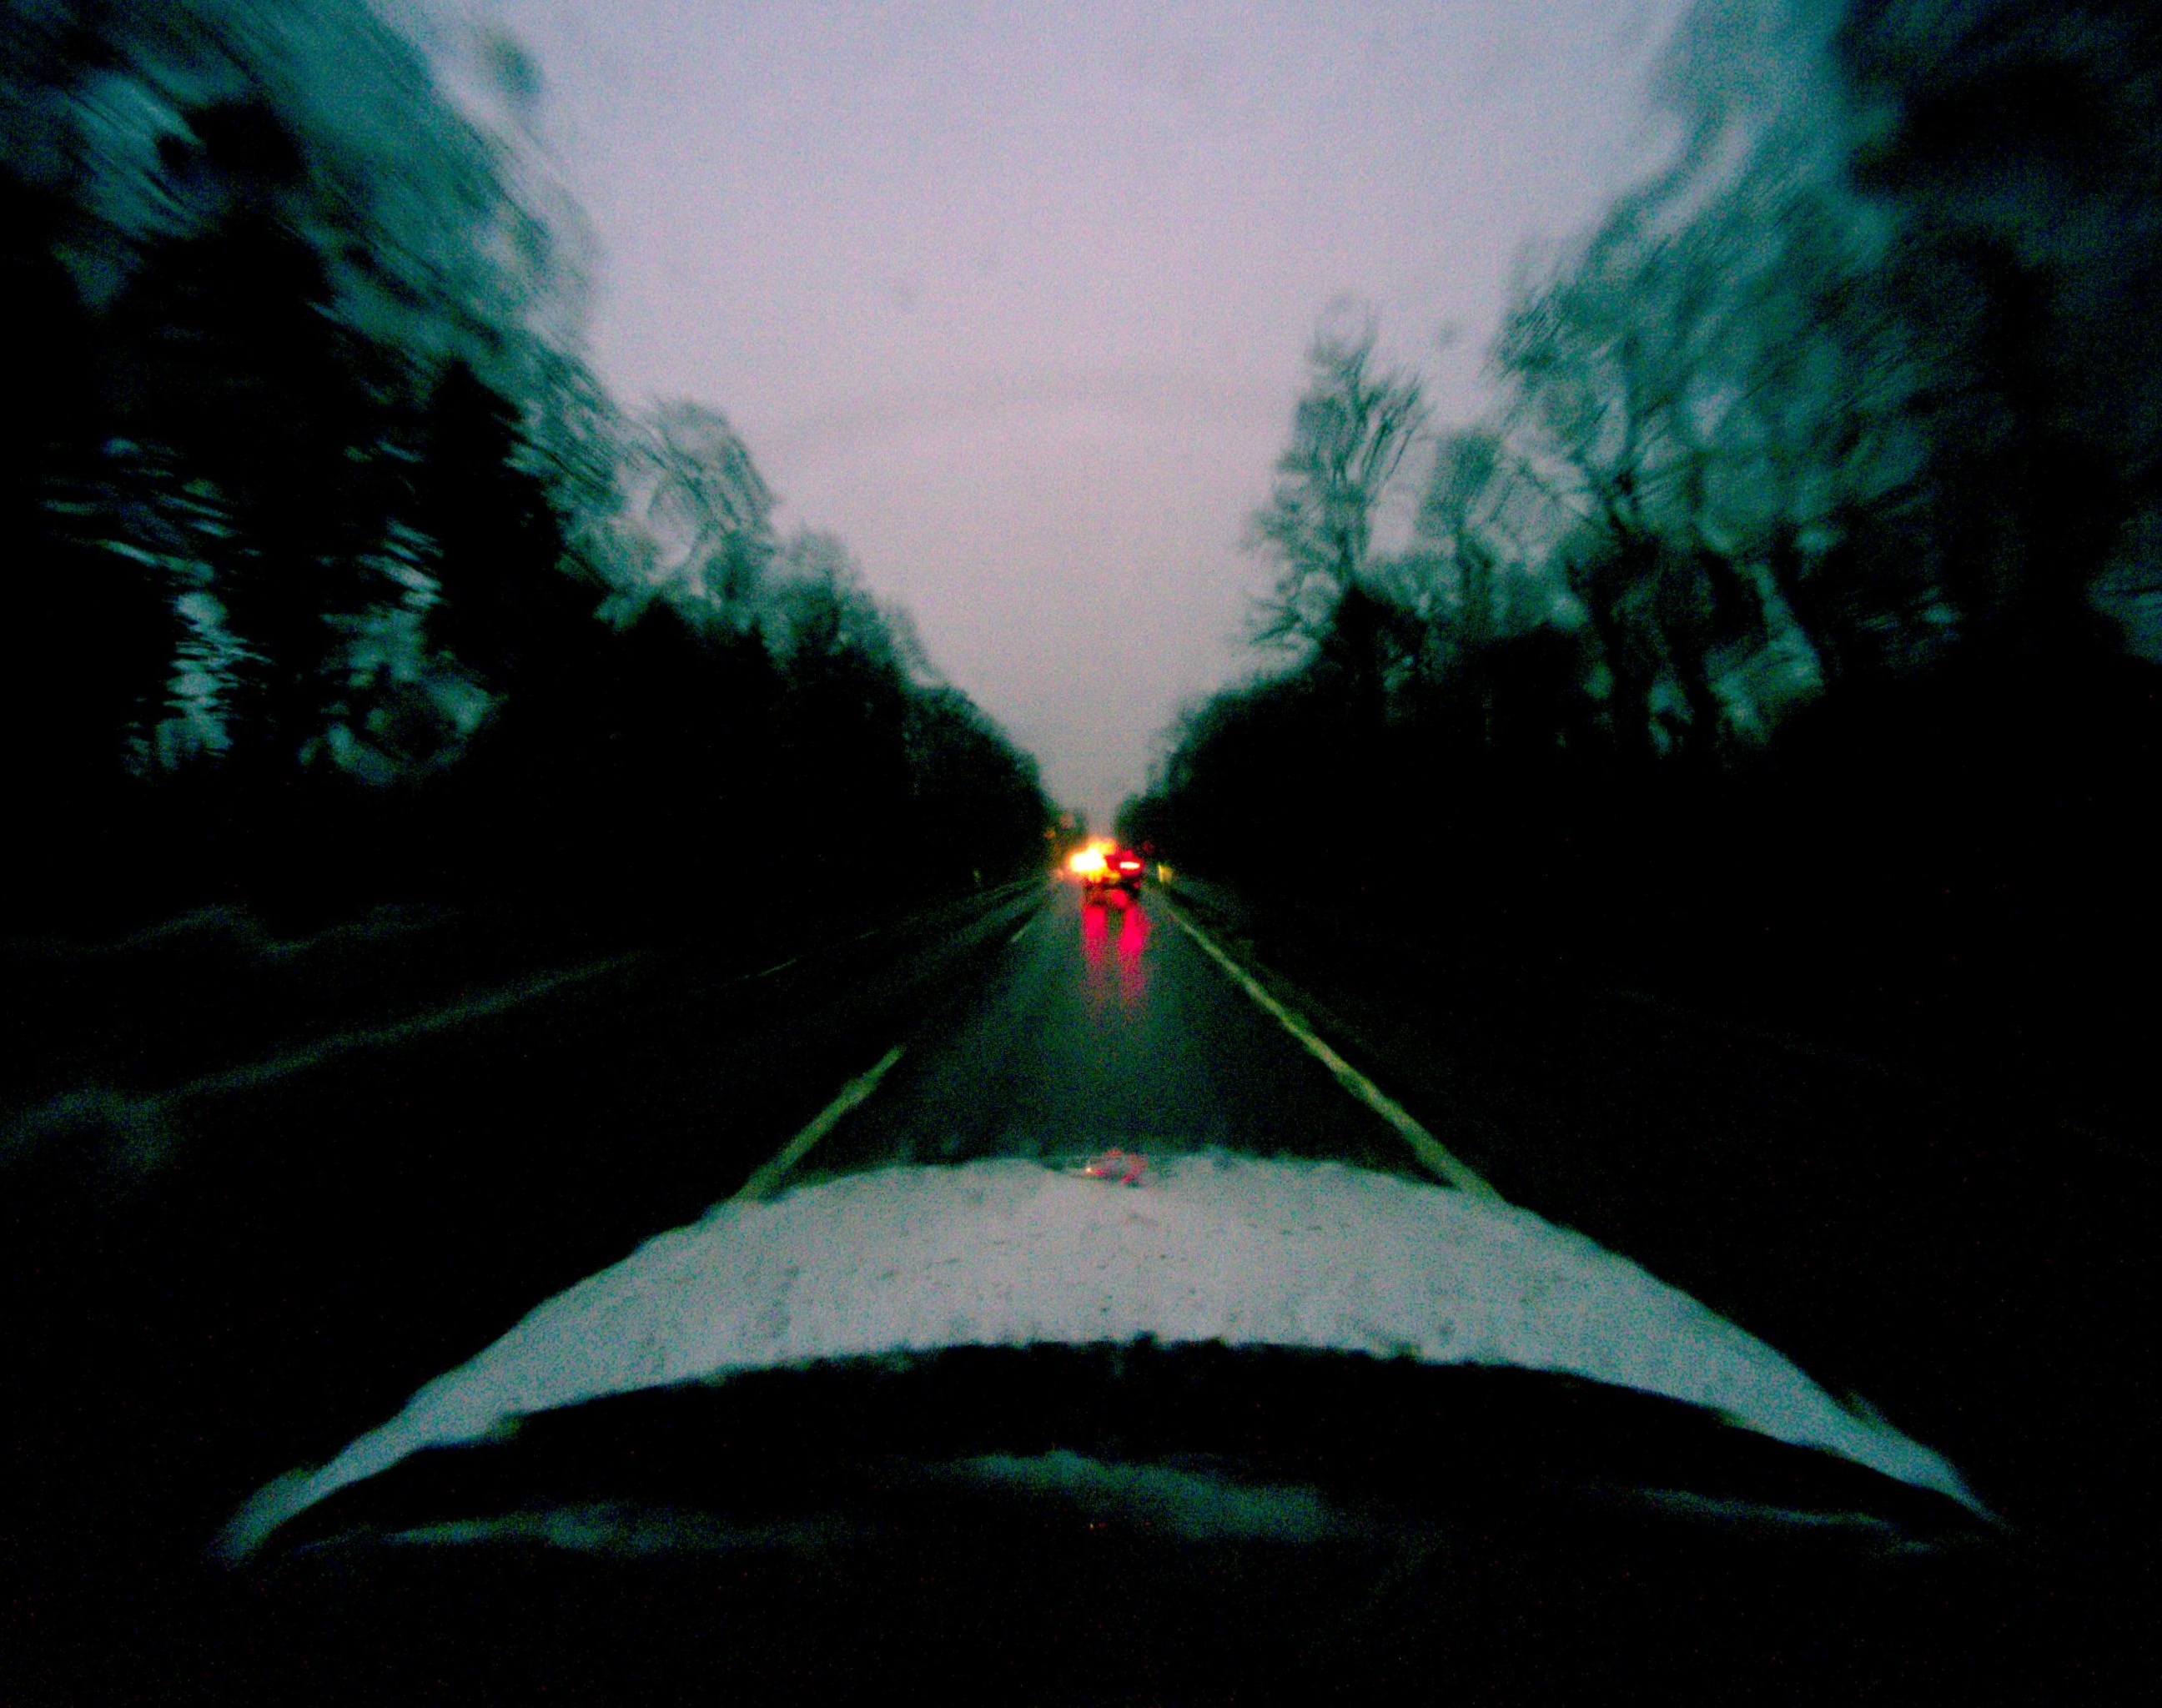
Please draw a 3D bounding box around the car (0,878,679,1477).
[{"bbox_3d":[-3.542,0.906,3.066,1.697,1.363,4.378,-3,0,2],"label":"car"}]
